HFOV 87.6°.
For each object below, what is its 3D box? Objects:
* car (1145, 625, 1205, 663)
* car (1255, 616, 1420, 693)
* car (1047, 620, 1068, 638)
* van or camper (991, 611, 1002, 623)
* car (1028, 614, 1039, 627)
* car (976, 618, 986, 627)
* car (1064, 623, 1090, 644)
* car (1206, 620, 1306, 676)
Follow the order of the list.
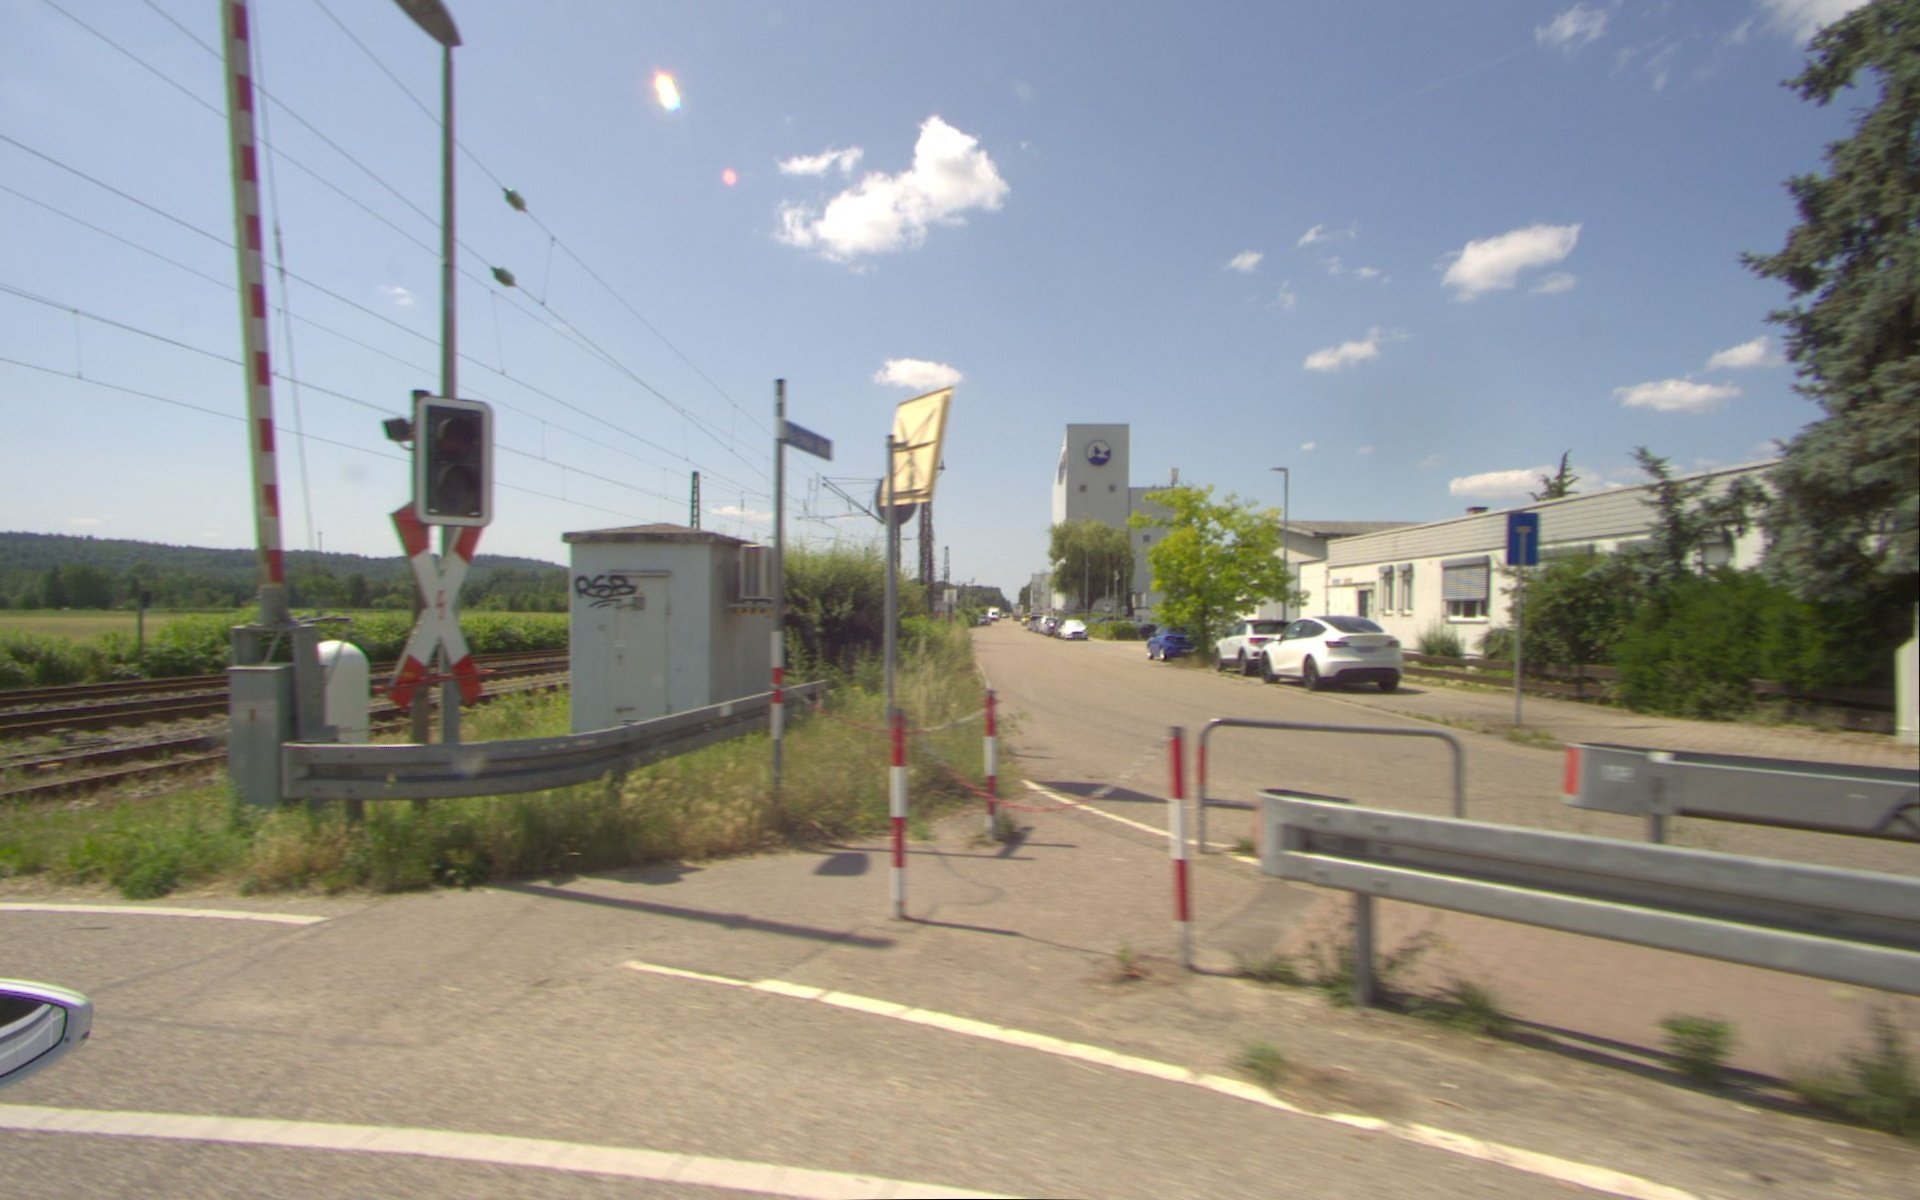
[{"bbox_3d":[8.354,1.696,39.076,1.549,1.394,3.055,1,-1,-3],"label":"car"},{"bbox_3d":[8.447,1.172,22.878,1.961,1.530,4.454,1,0,-2],"label":"car"},{"bbox_3d":[8.374,2.465,85.959,1.565,1.472,3.333,1,-1,1],"label":"car"},{"bbox_3d":[8.025,3.670,219.792,2.457,2.482,4.864,1,-1,2],"label":"van or camper"},{"bbox_3d":[8.782,2.425,119.333,1.191,1.497,3.177,1,-1,2],"label":"car"},{"bbox_3d":[3.282,3.537,157.386,1.619,1.497,2.902,1,-1,2],"label":"car"},{"bbox_3d":[8.607,2.477,74.032,1.565,1.472,3.333,1,-1,1],"label":"car"},{"bbox_3d":[8.425,1.337,28.824,1.619,1.473,4.001,1,-1,-1],"label":"car"}]
